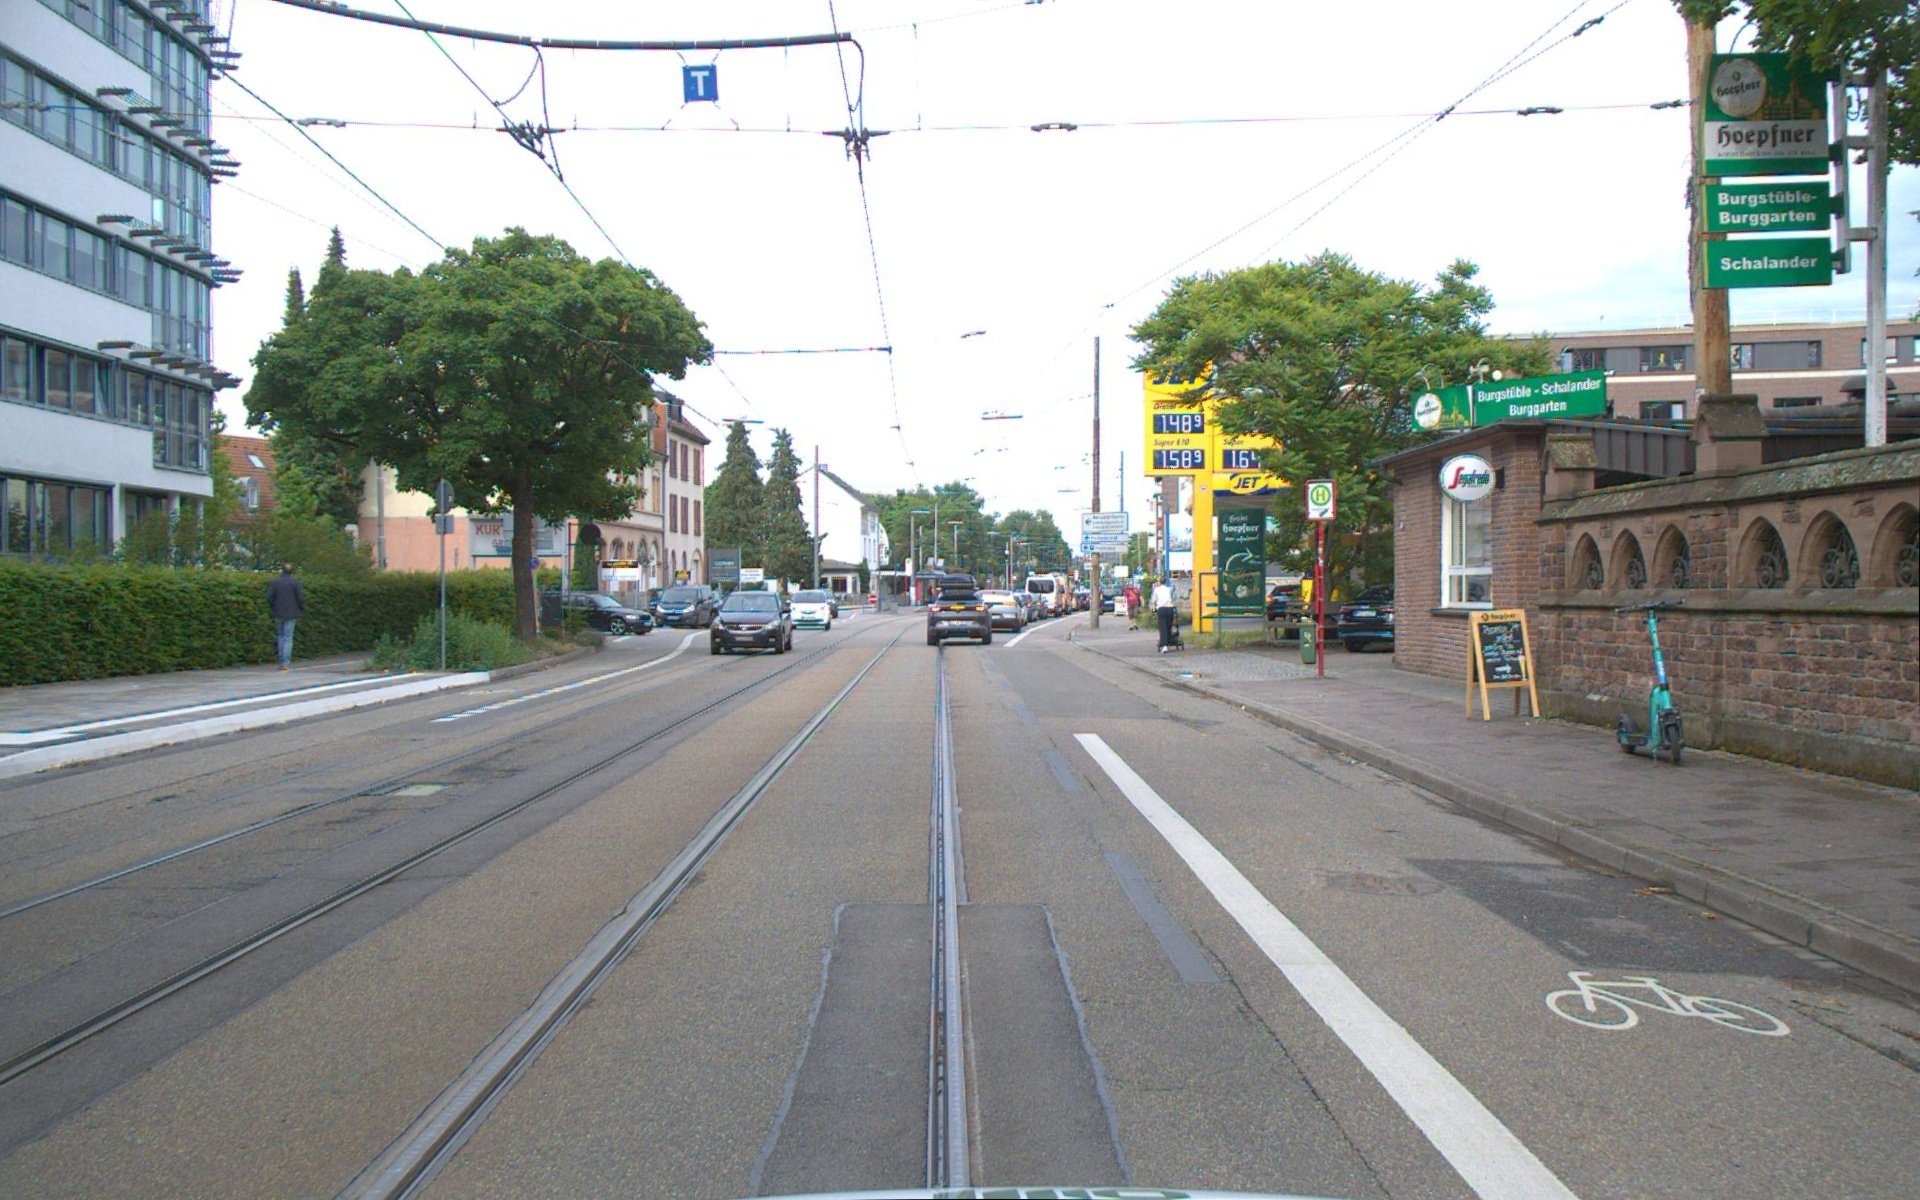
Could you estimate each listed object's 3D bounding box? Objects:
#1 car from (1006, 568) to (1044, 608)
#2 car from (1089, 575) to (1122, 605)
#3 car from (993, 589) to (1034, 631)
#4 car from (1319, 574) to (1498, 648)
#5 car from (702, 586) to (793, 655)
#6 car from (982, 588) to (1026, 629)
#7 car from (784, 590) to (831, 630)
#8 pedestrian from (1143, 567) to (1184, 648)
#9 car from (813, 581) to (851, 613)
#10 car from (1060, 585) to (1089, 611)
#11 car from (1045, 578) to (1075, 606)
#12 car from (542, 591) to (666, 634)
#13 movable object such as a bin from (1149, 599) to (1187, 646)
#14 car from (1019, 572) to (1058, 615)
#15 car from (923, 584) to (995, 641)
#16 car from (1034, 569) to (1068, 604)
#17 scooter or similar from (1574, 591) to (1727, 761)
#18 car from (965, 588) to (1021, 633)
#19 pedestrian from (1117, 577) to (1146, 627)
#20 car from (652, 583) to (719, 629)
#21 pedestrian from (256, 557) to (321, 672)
[{"bbox_3d":[3.542,-0.638,89.661,1.952,2.049,4.001,1,0,3],"label":"car"},{"bbox_3d":[9.276,-0.596,105.668,1.835,1.855,4.097,1,0,2],"label":"car"},{"bbox_3d":[2.685,0.487,82.989,1.952,2.049,4.001,1,0,2],"label":"car"},{"bbox_3d":[9.926,0.210,36.387,1.901,1.432,4.556,-1,1,43],"label":"car"},{"bbox_3d":[-5.154,0.463,40.564,1.712,1.512,4.063,-1,1,-1],"label":"car"},{"bbox_3d":[1.972,0.378,75.420,1.928,1.787,3.838,1,0,1],"label":"car"},{"bbox_3d":[-6.104,0.373,66.505,1.669,1.556,3.741,0,0,-2],"label":"car"},{"bbox_3d":[4.729,0.167,38.374,0.751,1.828,1.163,-3,0,14],"label":"pedestrian"},{"bbox_3d":[-7.299,-0.150,94.497,1.790,1.768,4.335,-1,0,0],"label":"car"},{"bbox_3d":[9.349,-0.156,135.267,1.953,2.049,3.999,1,0,-1],"label":"car"},{"bbox_3d":[7.448,-0.568,123.358,1.953,2.049,3.999,1,0,-1],"label":"car"},{"bbox_3d":[-12.340,0.423,57.313,3.838,1.412,1.802,0,1,20],"label":"car"},{"bbox_3d":[4.921,0.536,39.105,0.751,1.057,1.025,-3,0,14],"label":"movable object such as a bin"},{"bbox_3d":[4.591,-0.371,97.197,2.170,2.465,4.952,1,0,2],"label":"car"},{"bbox_3d":[-0.037,0.338,47.371,1.949,1.523,4.325,1,0,0],"label":"car"},{"bbox_3d":[5.854,-0.832,106.759,2.095,2.183,4.745,1,0,3],"label":"car"},{"bbox_3d":[5.542,0.577,13.352,0.565,1.260,1.410,-4,0,0],"label":"scooter or similar"},{"bbox_3d":[1.200,0.374,61.751,1.941,1.577,4.183,1,0,0],"label":"car"},{"bbox_3d":[6.260,0.086,60.440,0.951,1.769,0.861,-3,0,2],"label":"pedestrian"},{"bbox_3d":[-12.188,0.258,73.803,1.950,1.920,4.999,1,0,2],"label":"car"},{"bbox_3d":[-12.304,0.261,30.319,0.695,2.049,0.991,1,0,6],"label":"pedestrian"}]
